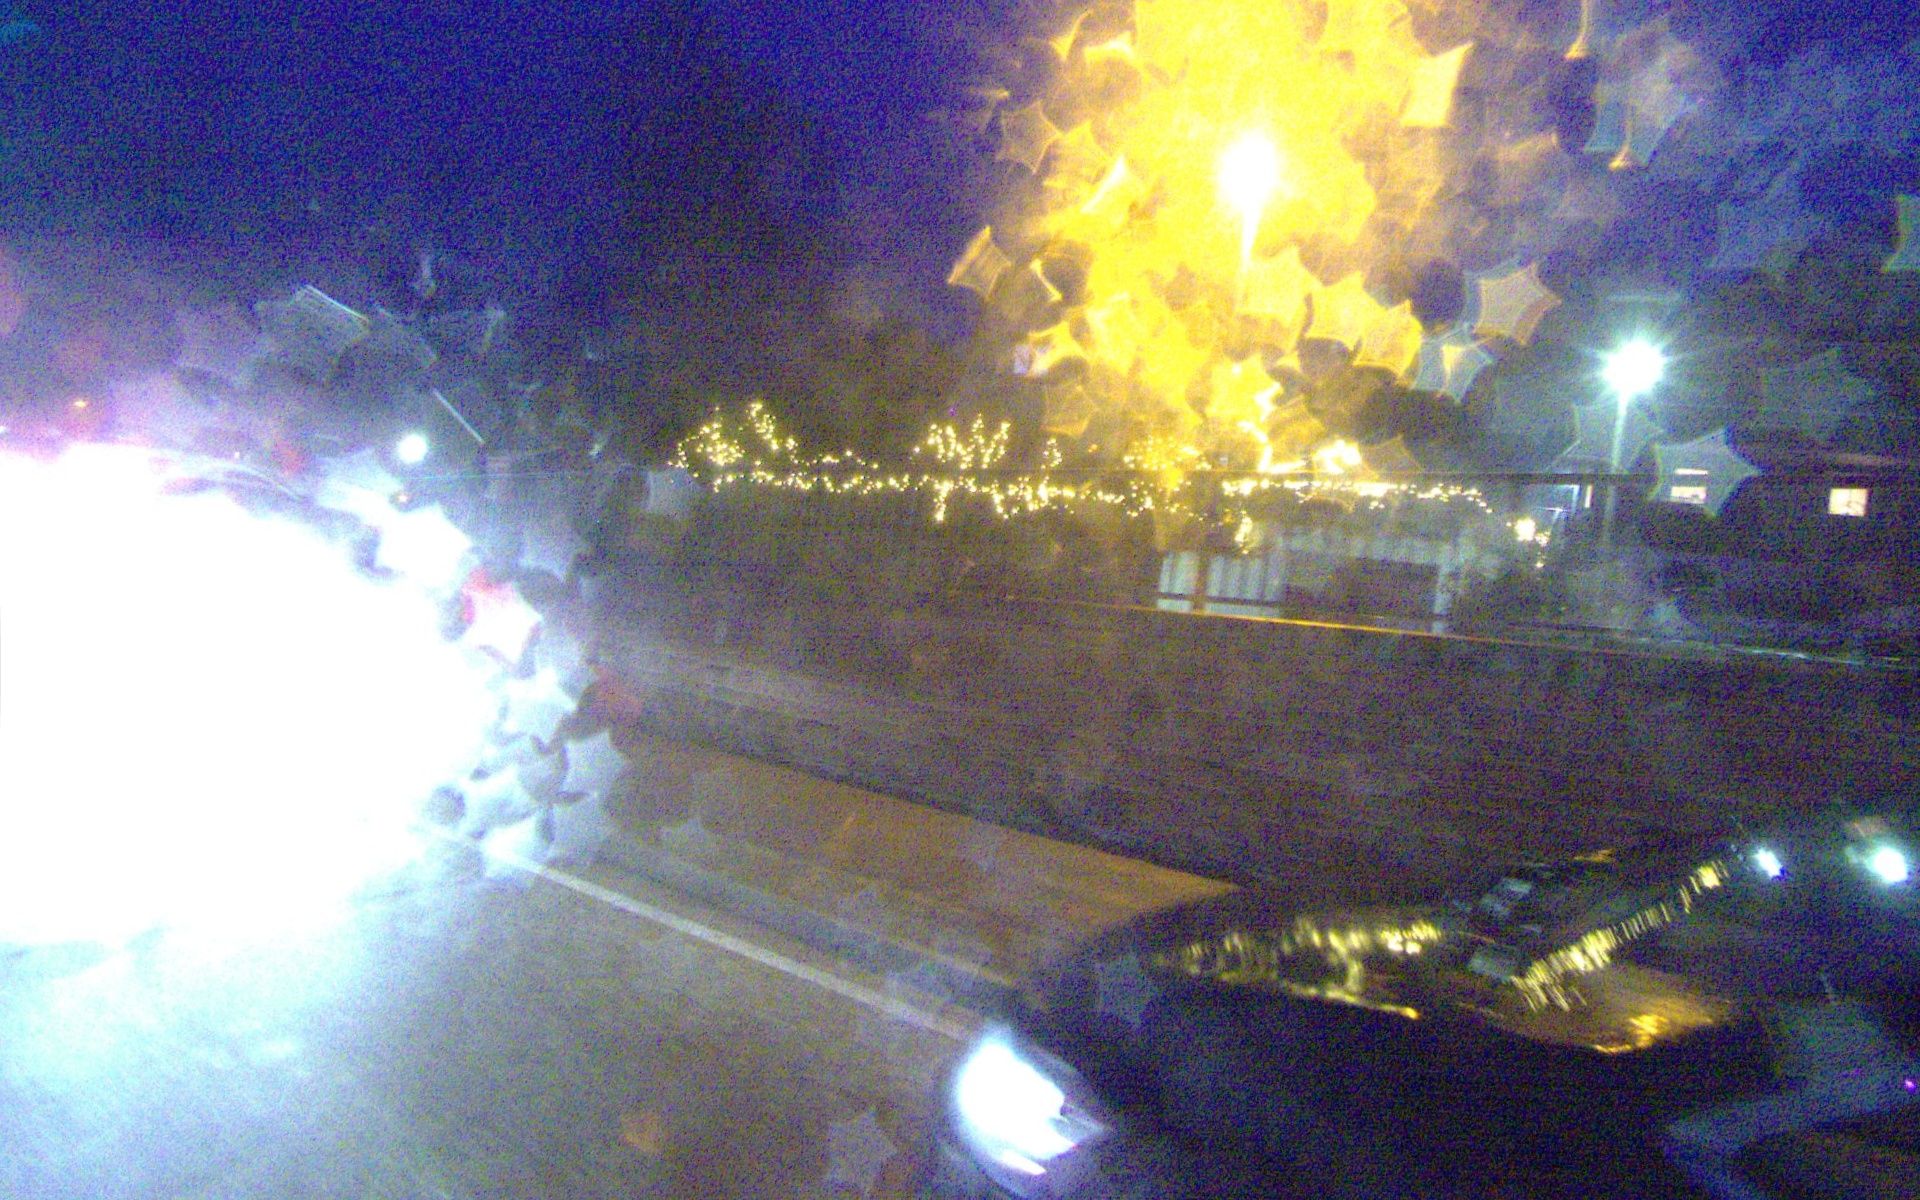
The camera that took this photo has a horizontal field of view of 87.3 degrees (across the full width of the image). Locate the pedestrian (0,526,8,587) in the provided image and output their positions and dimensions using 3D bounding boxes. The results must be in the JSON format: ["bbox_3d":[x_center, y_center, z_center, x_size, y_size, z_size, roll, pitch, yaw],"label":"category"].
[{"bbox_3d":[-16.787,-0.451,17.079,0.532,1.721,0.624,6,-1,29],"label":"pedestrian"}]

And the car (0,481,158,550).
[{"bbox_3d":[-27.951,-2.655,31.319,4.296,1.476,1.838,9,-2,-30],"label":"car"}]

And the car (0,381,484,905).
[{"bbox_3d":[-4.824,0.068,5.461,4.269,1.886,1.855,6,-2,32],"label":"car"}]

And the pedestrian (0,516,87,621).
[{"bbox_3d":[-16.256,-0.546,17.799,0.608,1.721,0.868,7,-1,18],"label":"pedestrian"}]

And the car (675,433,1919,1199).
[{"bbox_3d":[2.084,0.912,1.059,4.862,1.755,1.837,6,-2,34],"label":"car"}]

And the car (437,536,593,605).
[{"bbox_3d":[-13.562,-0.887,30.761,3.920,1.504,1.745,9,-3,-40],"label":"car"}]
